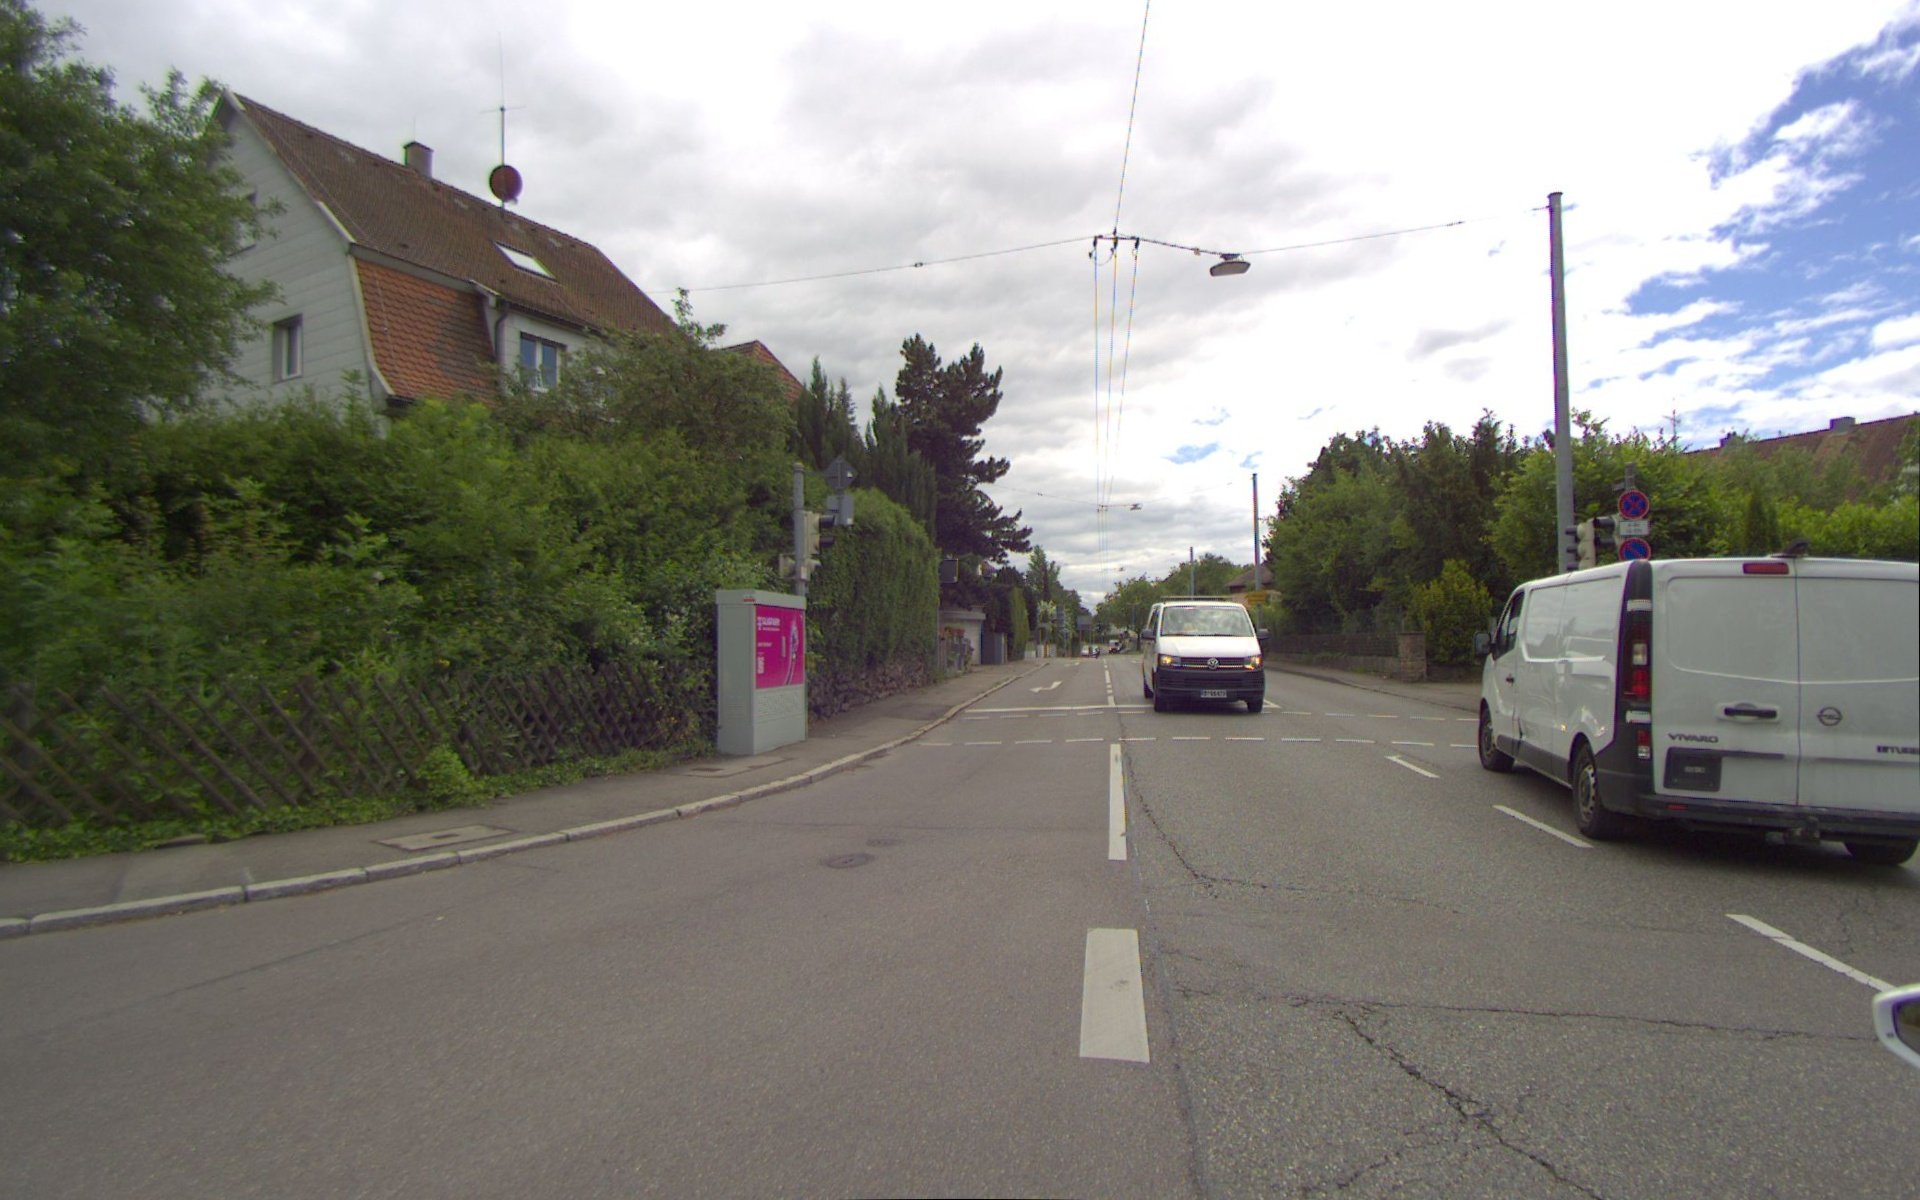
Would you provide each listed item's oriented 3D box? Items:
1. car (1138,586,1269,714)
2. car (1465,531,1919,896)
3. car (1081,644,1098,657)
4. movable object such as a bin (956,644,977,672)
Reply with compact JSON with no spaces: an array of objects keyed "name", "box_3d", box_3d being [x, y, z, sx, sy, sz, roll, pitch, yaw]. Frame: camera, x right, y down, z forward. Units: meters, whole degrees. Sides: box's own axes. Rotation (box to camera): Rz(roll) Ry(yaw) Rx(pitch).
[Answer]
[{"name":"car","box_3d":[4.440,0.902,19.064,1.826,2.075,5.175,-1,-2,7]},{"name":"car","box_3d":[5.704,0.722,8.242,1.973,2.064,5.012,1,-2,18]},{"name":"car","box_3d":[14.743,5.757,114.492,1.778,1.474,4.417,-3,-3,7]},{"name":"movable object such as a bin","box_3d":[0.238,2.043,35.516,0.457,0.954,0.644,-1,-2,36]}]
